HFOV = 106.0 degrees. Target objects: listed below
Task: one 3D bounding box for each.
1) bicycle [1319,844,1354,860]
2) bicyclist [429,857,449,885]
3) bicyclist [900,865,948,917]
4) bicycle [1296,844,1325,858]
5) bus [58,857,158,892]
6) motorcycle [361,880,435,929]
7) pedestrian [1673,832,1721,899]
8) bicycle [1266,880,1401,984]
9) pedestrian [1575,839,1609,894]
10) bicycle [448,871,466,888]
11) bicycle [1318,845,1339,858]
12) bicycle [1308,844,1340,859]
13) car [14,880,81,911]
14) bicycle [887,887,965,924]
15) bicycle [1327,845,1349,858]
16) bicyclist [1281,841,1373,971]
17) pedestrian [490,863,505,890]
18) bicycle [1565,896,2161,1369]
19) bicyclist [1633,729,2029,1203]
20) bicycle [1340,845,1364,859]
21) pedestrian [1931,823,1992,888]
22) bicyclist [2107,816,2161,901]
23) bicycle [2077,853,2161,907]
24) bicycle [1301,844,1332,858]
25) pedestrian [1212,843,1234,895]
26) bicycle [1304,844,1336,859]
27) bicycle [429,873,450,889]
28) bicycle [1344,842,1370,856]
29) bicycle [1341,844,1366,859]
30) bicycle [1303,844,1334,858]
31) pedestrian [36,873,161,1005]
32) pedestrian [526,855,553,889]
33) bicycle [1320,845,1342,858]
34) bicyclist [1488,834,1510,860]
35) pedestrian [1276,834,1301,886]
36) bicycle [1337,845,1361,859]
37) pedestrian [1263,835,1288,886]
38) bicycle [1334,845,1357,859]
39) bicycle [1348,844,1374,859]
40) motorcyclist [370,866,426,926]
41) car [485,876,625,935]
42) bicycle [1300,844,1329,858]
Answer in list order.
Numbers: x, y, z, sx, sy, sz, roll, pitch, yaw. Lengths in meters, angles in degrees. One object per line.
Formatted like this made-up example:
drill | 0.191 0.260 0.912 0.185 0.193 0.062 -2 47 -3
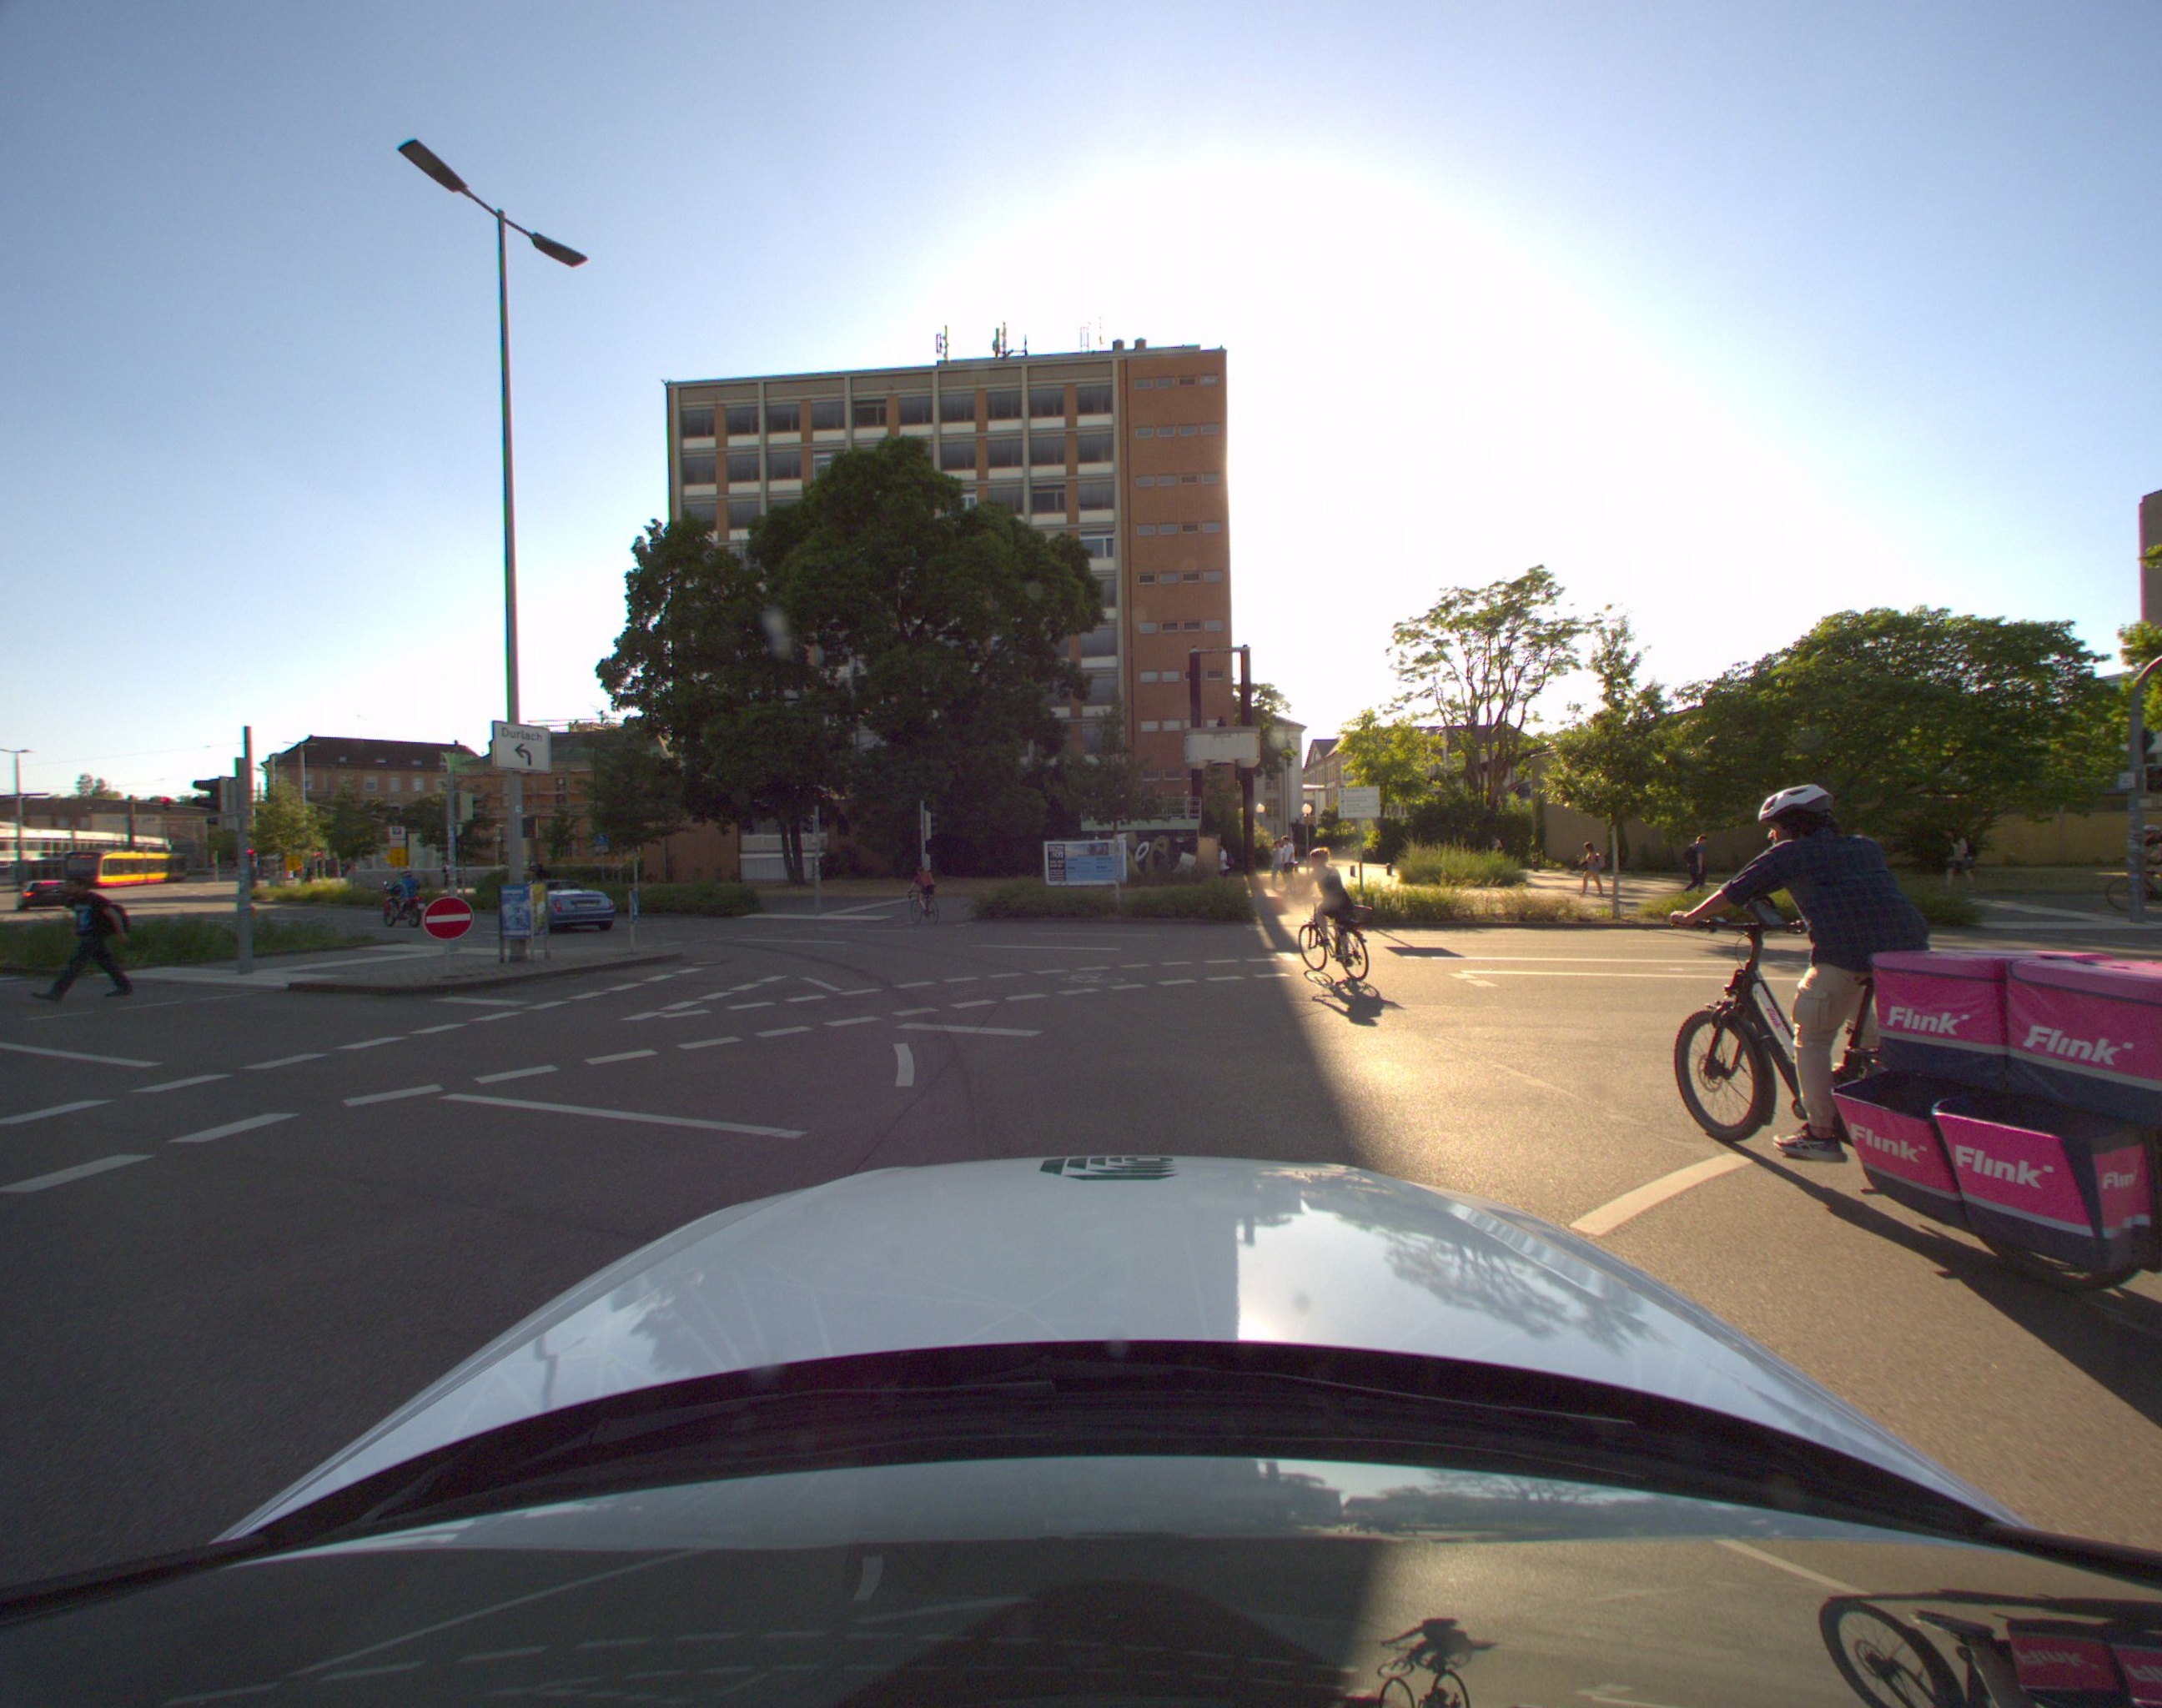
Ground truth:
bicycle | 22.361 -0.204 71.239 2.855 1.381 0.684 1 0 9
bicyclist | -42.846 1.123 54.348 0.882 1.786 0.794 -2 1 43
bicyclist | -4.323 1.022 22.429 1.062 1.384 0.726 -3 -2 35
bicycle | 23.923 -0.318 85.030 2.855 1.381 0.684 1 0 9
bus | -89.440 1.803 75.090 2.367 2.883 9.494 0 1 -27
motorcycle | -20.687 1.503 24.651 2.618 1.377 1.106 -2 -1 36
pedestrian | 16.196 0.294 21.417 0.727 1.713 0.714 -1 0 9
bicycle | 3.351 0.985 11.083 0.778 1.156 2.283 -1 1 -10
pedestrian | 15.116 0.359 24.081 0.633 1.574 0.624 -1 0 9
bicycle | -42.351 1.739 55.276 0.630 1.038 1.944 -4 1 -29
bicycle | 22.822 -0.235 75.000 1.784 1.107 0.501 1 0 9
bicycle | 22.904 -0.251 76.795 2.855 1.381 0.684 1 0 9
car | -50.552 1.994 39.832 3.926 1.444 1.818 -1 -1 35
bicycle | -4.281 1.422 22.397 2.220 0.952 0.726 -3 -2 35
bicycle | 22.211 -0.198 70.481 1.784 1.107 0.501 1 0 9
bicyclist | 3.338 0.667 11.132 0.778 1.677 1.089 -1 1 -11
pedestrian | -36.242 1.415 50.608 0.729 1.659 0.710 2 -2 -36
bicycle | 3.318 0.851 3.596 0.776 1.156 2.580 -1 1 -1
bicyclist | 3.307 0.430 3.728 0.776 1.833 1.093 -1 0 -1
bicycle | 21.663 -0.174 65.093 1.784 1.107 0.501 1 0 9
pedestrian | 23.583 0.036 21.834 0.870 1.704 0.677 -1 0 4
bicyclist | 23.660 0.093 17.911 1.080 1.830 0.784 -1 0 19
bicycle | 23.731 0.564 17.892 2.265 1.156 0.784 -1 0 18
bicycle | 23.526 -0.288 81.384 2.855 1.381 0.684 1 0 9
pedestrian | 4.782 0.504 27.448 0.623 1.699 0.625 -1 0 18
bicycle | 23.145 -0.268 78.825 2.855 1.381 0.684 1 0 9
bicycle | -42.846 1.796 54.398 1.938 1.038 0.797 -2 2 43
bicycle | 21.223 -0.388 62.628 1.784 1.107 0.501 1 0 9
bicycle | 21.494 -0.194 64.299 1.784 1.107 0.501 1 0 9
bicycle | 23.257 -0.275 79.689 2.855 1.381 0.684 1 0 9
pedestrian | -13.353 1.112 11.086 0.739 1.684 0.905 -1 0 25
pedestrian | -27.060 0.886 40.713 0.780 1.658 0.813 -1 1 26
bicycle | 22.426 -0.221 73.098 1.784 1.107 0.501 1 0 9
bicyclist | 22.853 -0.386 44.575 0.909 1.434 0.624 1 0 8
pedestrian | 7.546 0.208 29.625 0.578 1.869 0.616 -2 0 -30
bicycle | 21.891 -0.165 66.580 1.784 1.107 0.501 1 0 9
pedestrian | 7.214 0.226 30.204 0.578 1.869 0.616 -2 0 -30
bicycle | 22.076 -0.177 68.033 1.784 1.107 0.501 1 0 9
bicycle | 20.868 -0.210 60.720 1.784 1.107 0.501 1 0 9
motorcyclist | -20.598 1.247 24.574 0.924 1.721 1.106 -2 -1 36
car | -14.334 1.333 22.140 3.926 1.444 1.818 -1 -1 35
bicycle | 23.775 -0.300 82.967 2.855 1.381 0.684 1 0 9
